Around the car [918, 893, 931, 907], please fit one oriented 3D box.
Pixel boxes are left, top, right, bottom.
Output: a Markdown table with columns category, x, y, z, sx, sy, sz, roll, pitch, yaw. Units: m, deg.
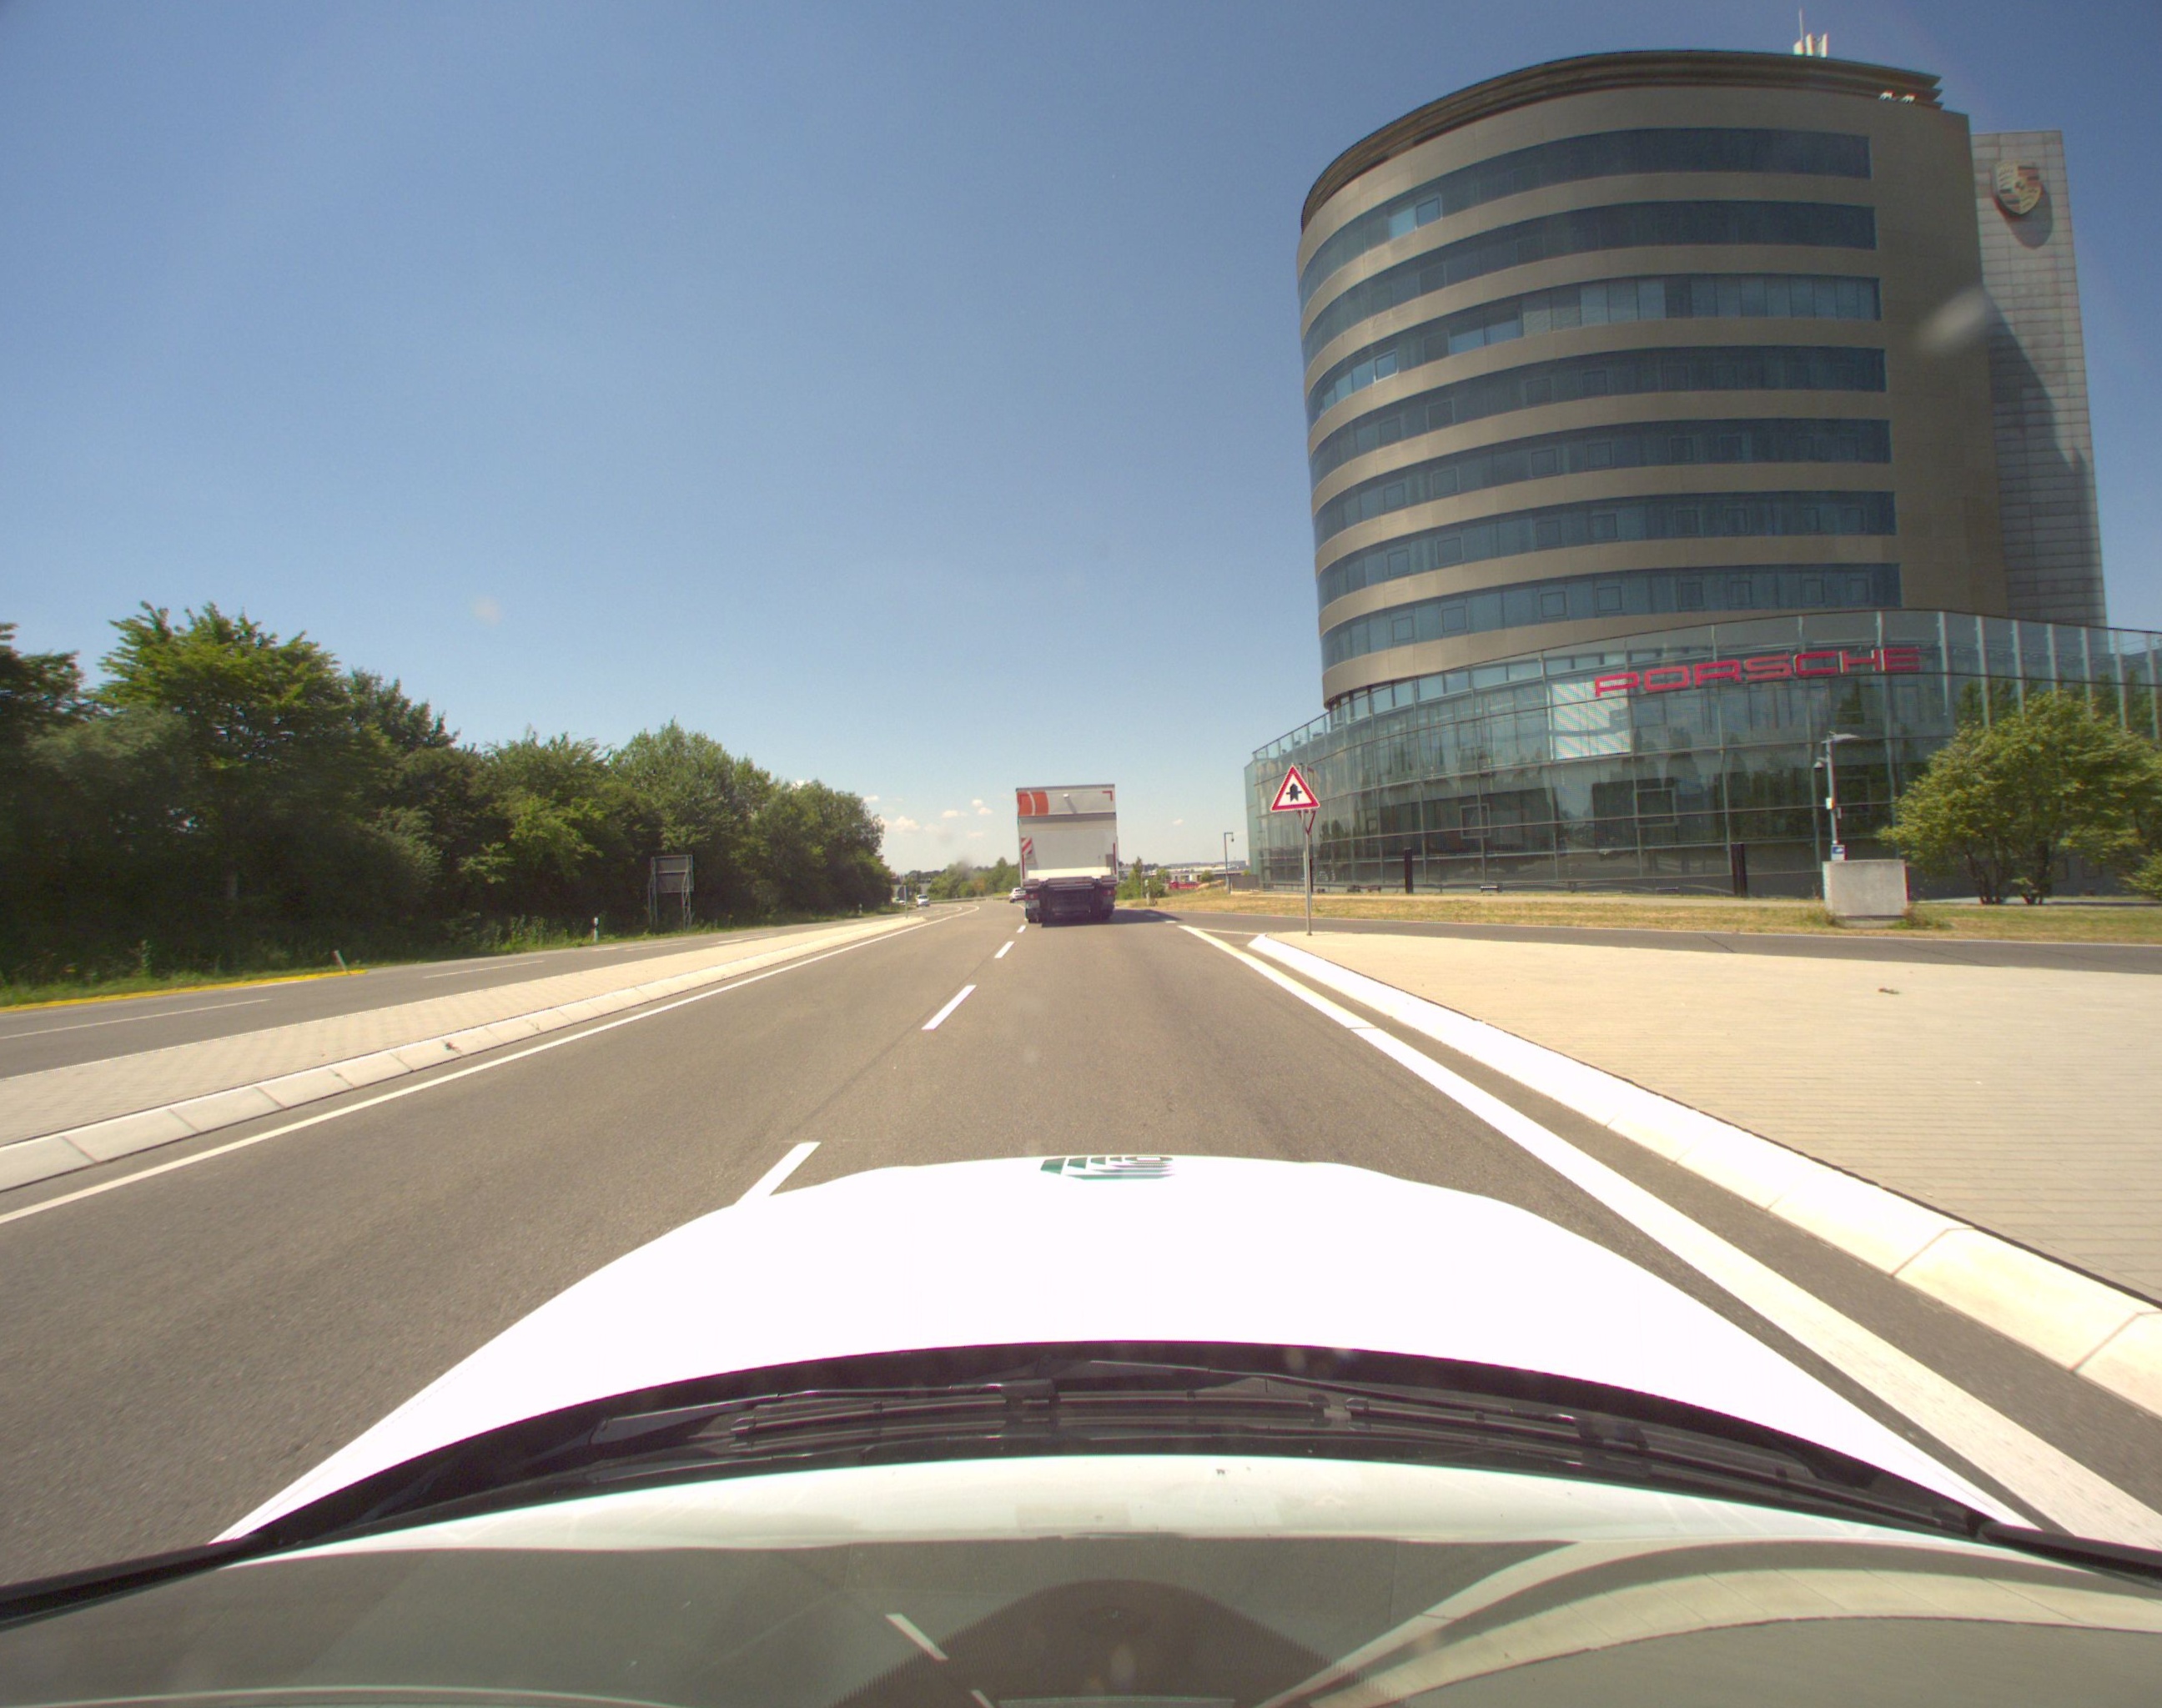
| category | x | y | z | sx | sy | sz | roll | pitch | yaw |
| --- | --- | --- | --- | --- | --- | --- | --- | --- | --- |
| car | -24.080 | 7.076 | 125.205 | 1.805 | 1.970 | 3.980 | -1 | 0 | -14 |

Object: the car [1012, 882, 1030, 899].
| category | x | y | z | sx | sy | sz | roll | pitch | yaw |
| --- | --- | --- | --- | --- | --- | --- | --- | --- | --- |
| car | -6.226 | 3.790 | 84.133 | 1.799 | 1.557 | 3.993 | -1 | 0 | -5 |

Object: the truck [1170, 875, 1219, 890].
| category | x | y | z | sx | sy | sz | roll | pitch | yaw |
| --- | --- | --- | --- | --- | --- | --- | --- | --- | --- |
| truck | 24.745 | 6.162 | 177.843 | 10.270 | 3.219 | 2.470 | -1 | -1 | 23 |

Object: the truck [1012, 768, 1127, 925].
| category | x | y | z | sx | sy | sz | roll | pitch | yaw |
| --- | --- | --- | --- | --- | --- | --- | --- | --- | --- |
| truck | -0.451 | -0.059 | 25.337 | 2.762 | 3.860 | 9.361 | -3 | -2 | -2 |
